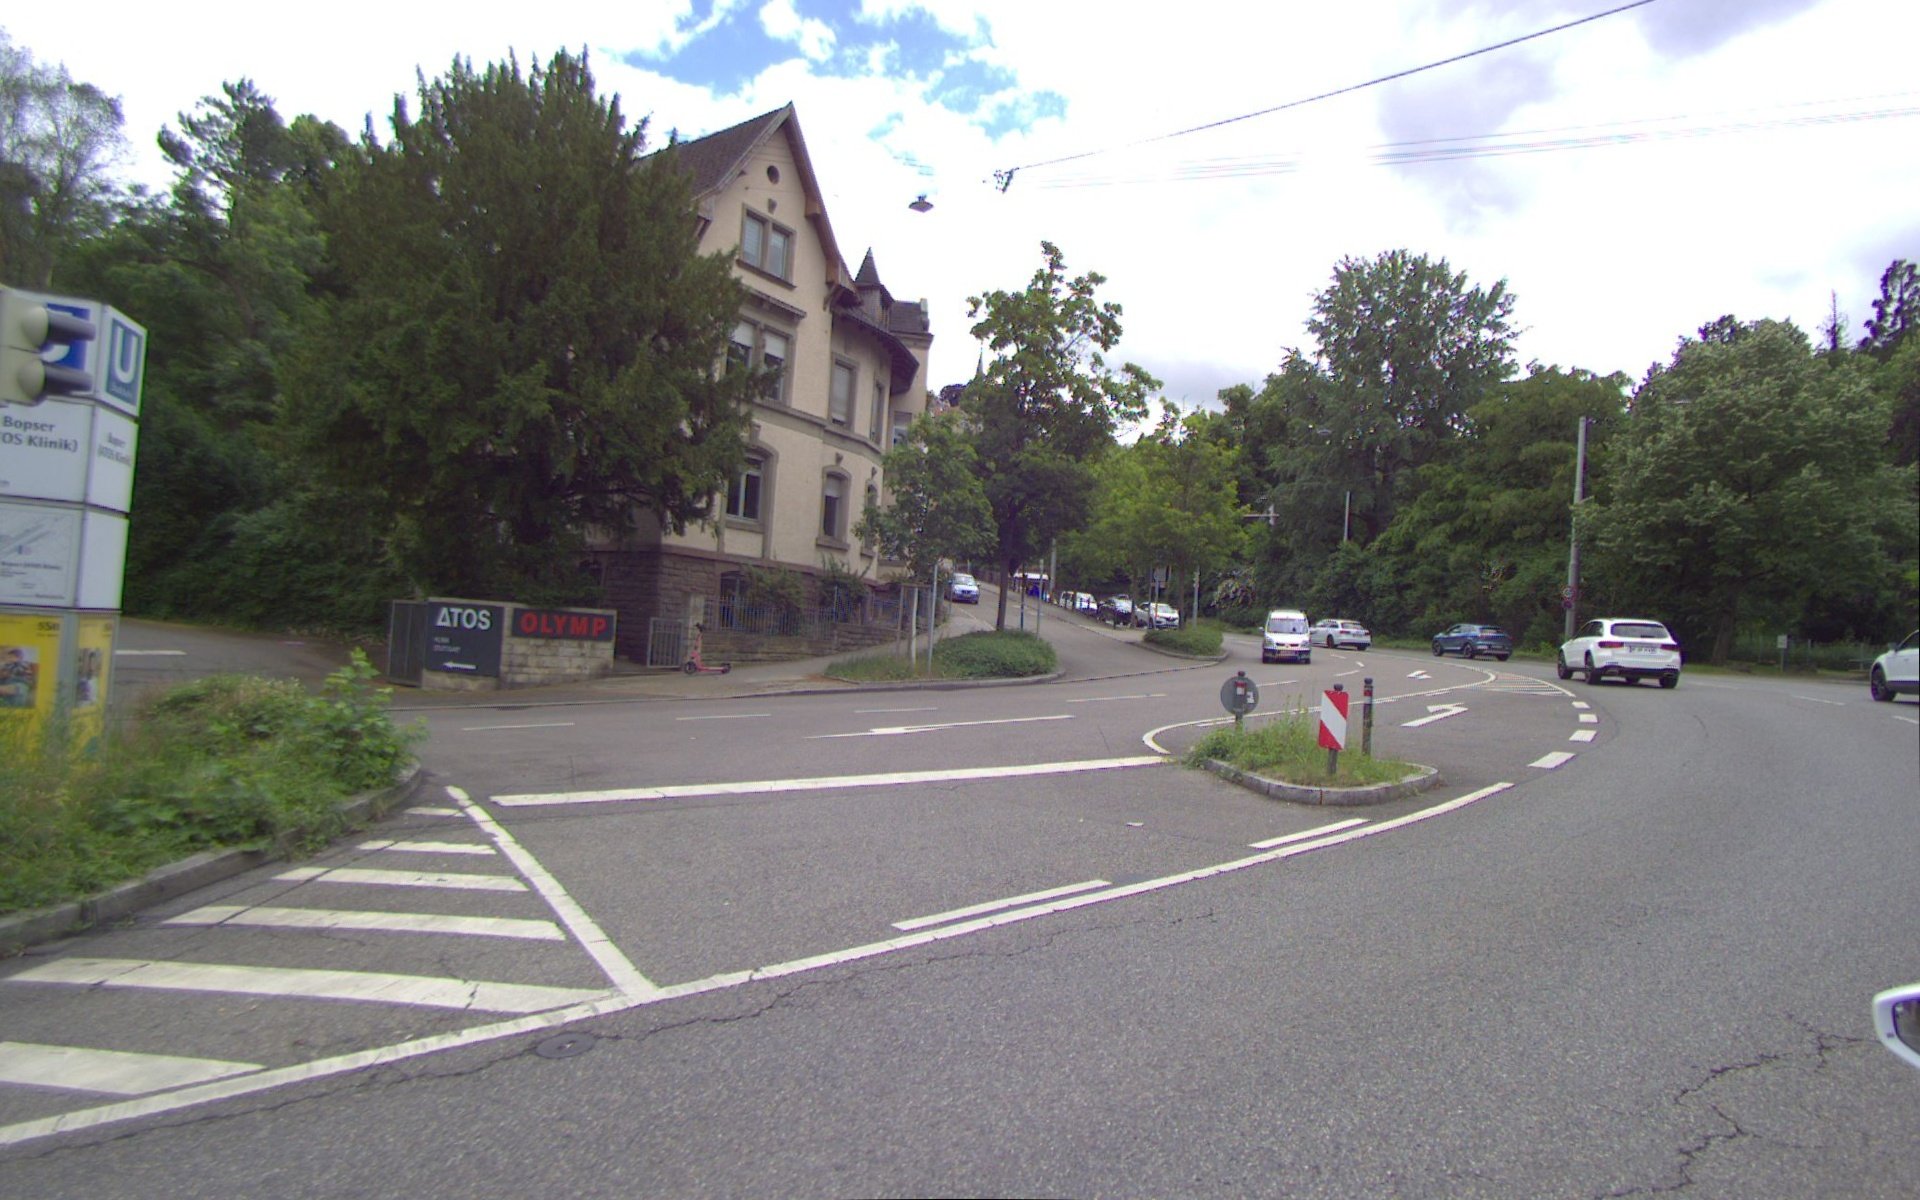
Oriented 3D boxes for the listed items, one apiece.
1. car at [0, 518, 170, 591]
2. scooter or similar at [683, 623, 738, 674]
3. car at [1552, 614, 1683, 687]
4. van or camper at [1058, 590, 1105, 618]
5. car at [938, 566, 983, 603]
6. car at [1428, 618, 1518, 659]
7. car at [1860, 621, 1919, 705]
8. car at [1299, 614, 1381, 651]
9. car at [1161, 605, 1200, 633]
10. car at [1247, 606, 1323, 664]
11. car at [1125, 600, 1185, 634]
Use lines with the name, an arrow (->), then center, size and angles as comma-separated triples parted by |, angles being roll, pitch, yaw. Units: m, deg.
car -> -27.083, -1.355, 30.972 | 3.952, 2.040, 1.985 | 1, 0, -29
scooter or similar -> -6.133, 1.185, 24.732 | 1.194, 1.175, 0.548 | -2, 1, -30
car -> 16.770, 1.214, 25.845 | 1.846, 1.674, 4.341 | 0, 0, 20
van or camper -> 9.274, 0.278, 77.290 | 1.965, 1.920, 5.446 | 4, 0, -10
car -> -0.014, -0.881, 55.489 | 1.963, 1.595, 3.995 | 6, 4, -6
car -> 23.229, 1.714, 45.649 | 1.831, 1.654, 3.957 | 1, 0, -4
car -> 19.238, 1.216, 19.301 | 1.836, 1.576, 3.891 | 1, -1, 26
car -> 19.273, 1.615, 51.147 | 2.212, 1.539, 4.304 | 4, 0, -5
car -> 16.459, 1.407, 75.162 | 1.961, 2.040, 3.999 | 0, 0, -2
car -> 11.480, 1.182, 35.725 | 1.879, 1.855, 4.041 | 1, 0, 8
car -> 11.353, 0.971, 58.808 | 1.867, 1.815, 4.751 | 1, 0, -9
